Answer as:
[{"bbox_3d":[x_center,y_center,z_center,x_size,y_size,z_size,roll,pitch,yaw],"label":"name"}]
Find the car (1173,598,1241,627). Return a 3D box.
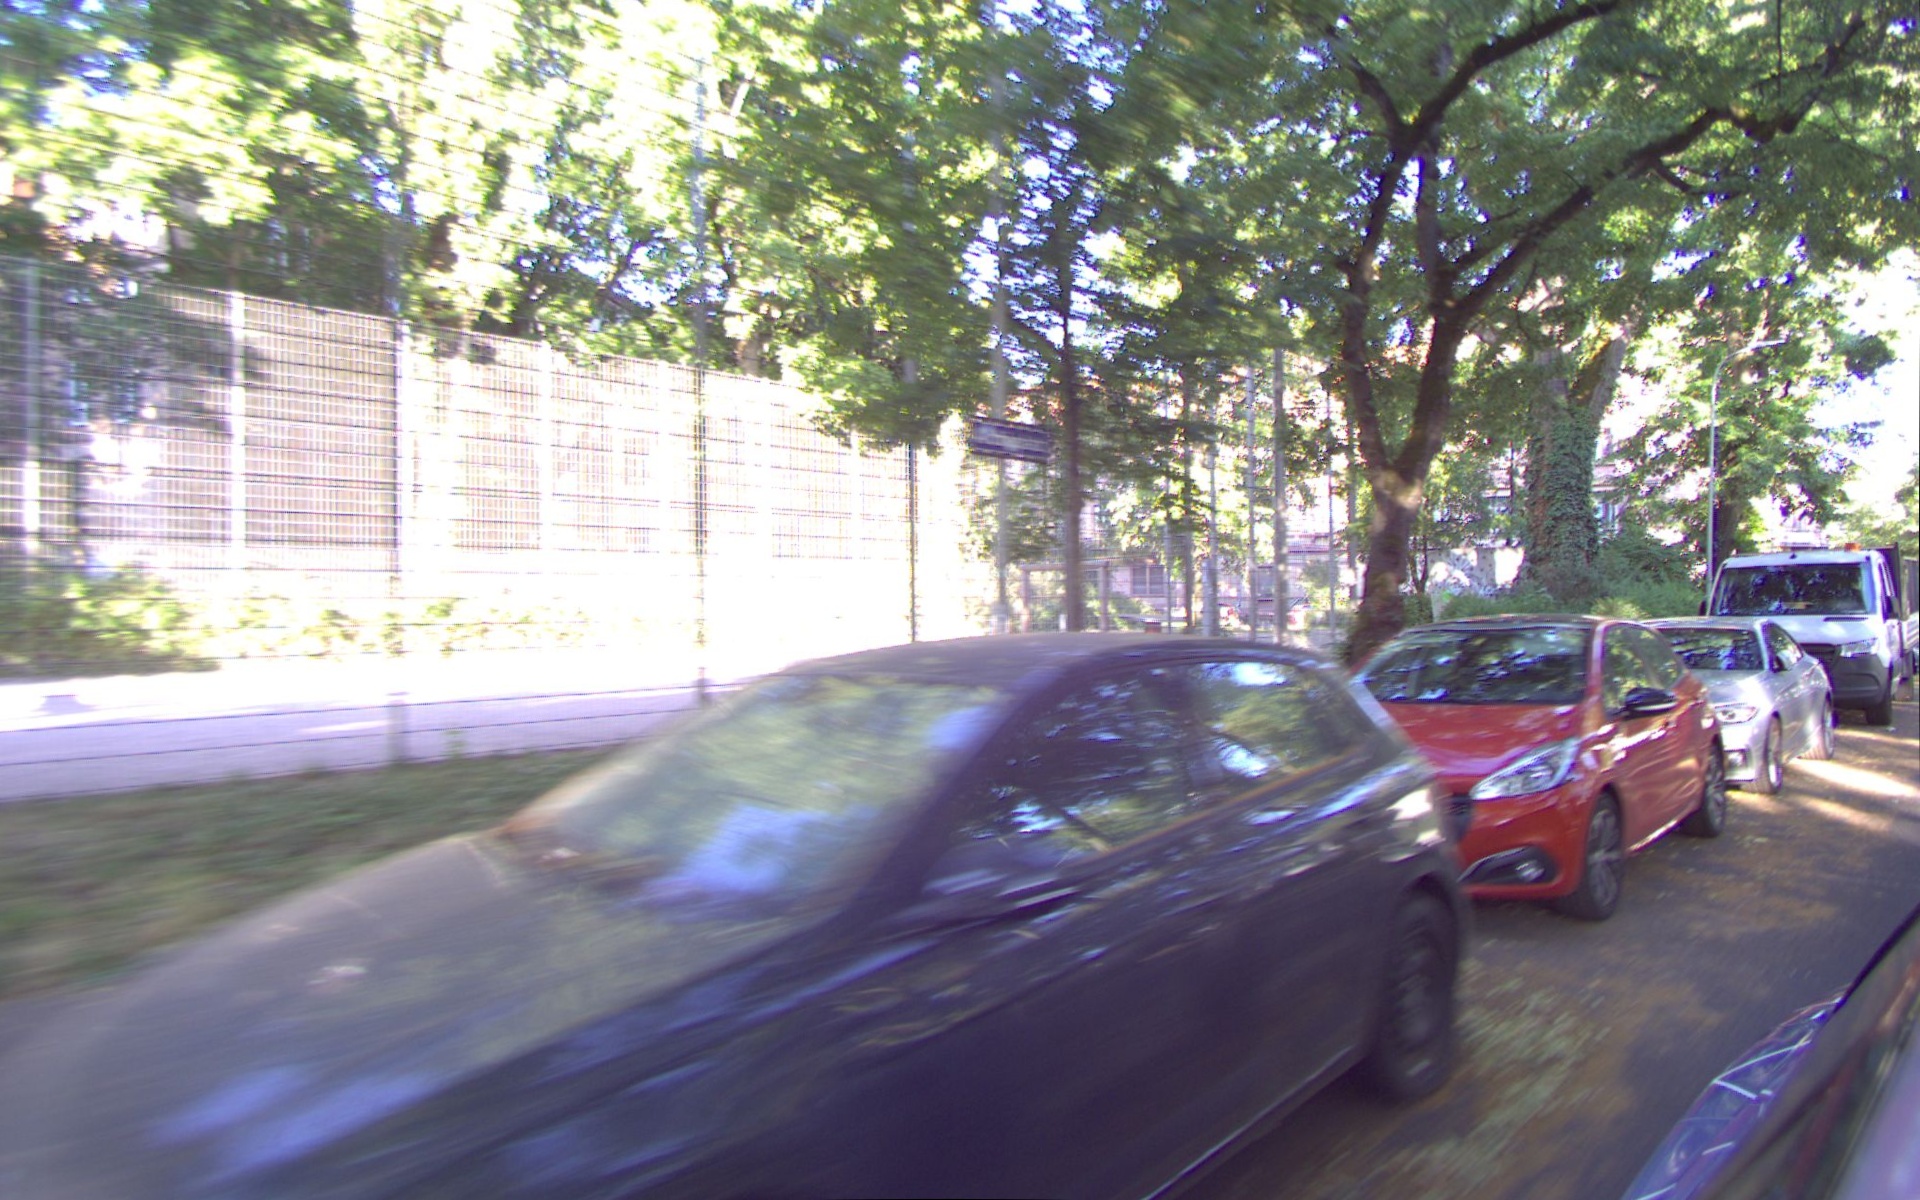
[{"bbox_3d":[13.000,0.614,53.296,3.416,1.427,1.792,1,1,14],"label":"car"}]

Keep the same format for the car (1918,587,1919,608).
[{"bbox_3d":[79.964,-0.338,81.131,1.601,1.689,4.248,-2,-2,-24],"label":"car"}]

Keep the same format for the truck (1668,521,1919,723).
[{"bbox_3d":[12.930,0.257,15.270,6.817,2.417,2.298,0,-1,-43],"label":"truck"}]

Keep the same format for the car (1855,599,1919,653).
[{"bbox_3d":[26.524,0.689,28.582,1.672,1.408,4.198,-2,-1,44],"label":"car"}]

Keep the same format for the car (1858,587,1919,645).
[{"bbox_3d":[29.941,0.477,32.327,1.786,1.729,4.309,-2,-1,43],"label":"car"}]

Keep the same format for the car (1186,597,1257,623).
[{"bbox_3d":[15.090,0.553,58.514,3.941,1.427,1.792,1,1,14],"label":"car"}]

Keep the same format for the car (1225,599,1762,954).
[{"bbox_3d":[3.451,0.755,6.211,3.881,1.472,1.674,0,-1,-42],"label":"car"}]

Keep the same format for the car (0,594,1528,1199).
[{"bbox_3d":[-0.062,0.740,2.784,3.881,1.472,1.674,0,-1,-42],"label":"car"}]

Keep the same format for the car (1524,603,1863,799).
[{"bbox_3d":[7.040,0.763,9.540,4.224,1.415,1.675,0,-1,-41],"label":"car"}]

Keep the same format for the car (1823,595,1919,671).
[{"bbox_3d":[19.503,0.639,21.306,3.829,1.477,1.673,0,-1,-44],"label":"car"}]

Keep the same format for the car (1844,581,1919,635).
[{"bbox_3d":[35.968,0.286,39.463,1.962,1.960,5.379,-1,-1,39],"label":"car"}]
